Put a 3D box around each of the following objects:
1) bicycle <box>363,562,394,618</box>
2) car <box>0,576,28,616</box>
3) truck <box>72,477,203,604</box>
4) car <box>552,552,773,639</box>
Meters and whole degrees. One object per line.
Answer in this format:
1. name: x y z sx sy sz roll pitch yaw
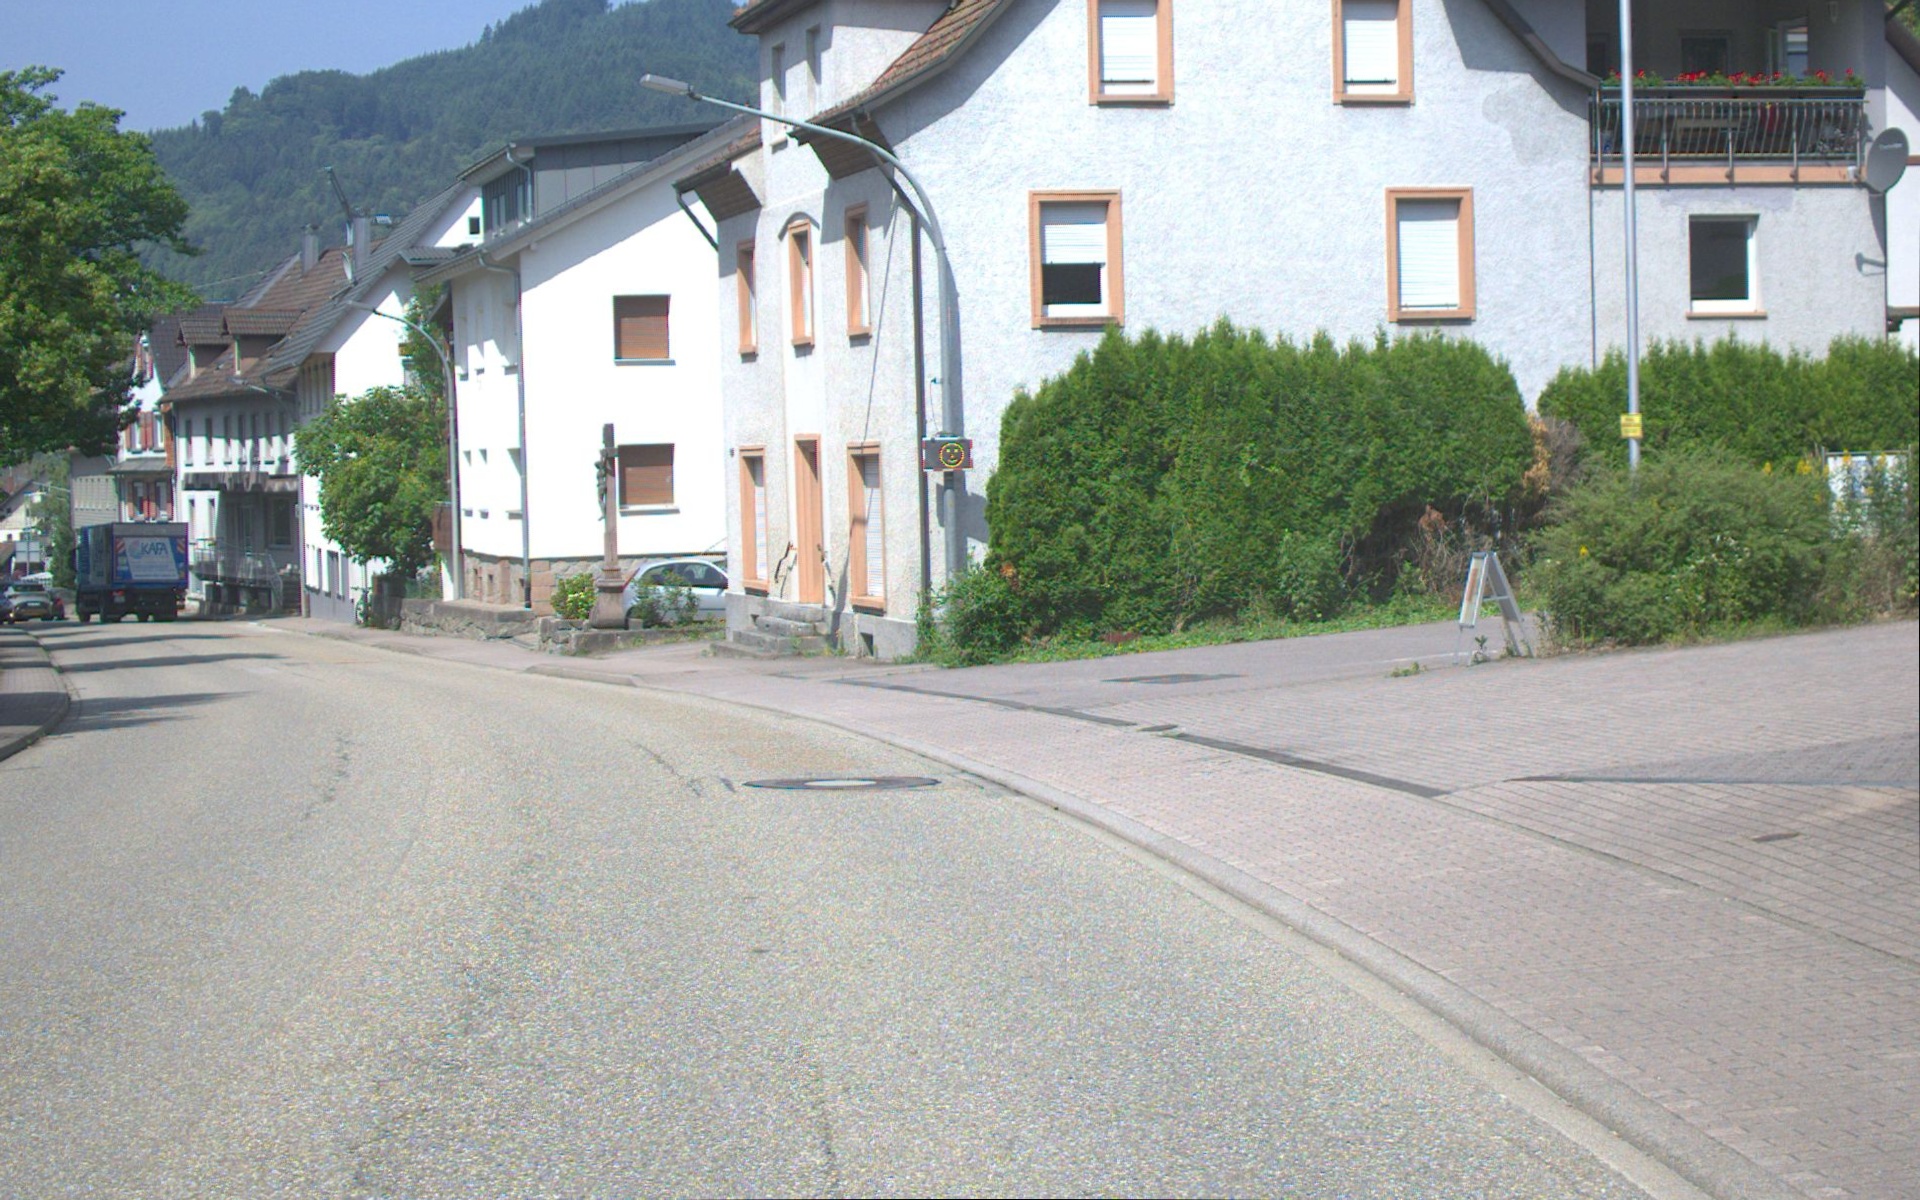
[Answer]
1. bicycle: -14.841 -0.266 87.707 0.425 1.391 2.277 -6 2 -15
2. car: -36.299 -0.114 129.417 1.666 1.413 4.087 -4 1 -23
3. truck: -28.794 -2.012 120.056 3.362 3.769 8.442 -6 0 -19
4. car: -5.521 -0.086 63.730 3.770 1.422 1.607 -2 1 30
